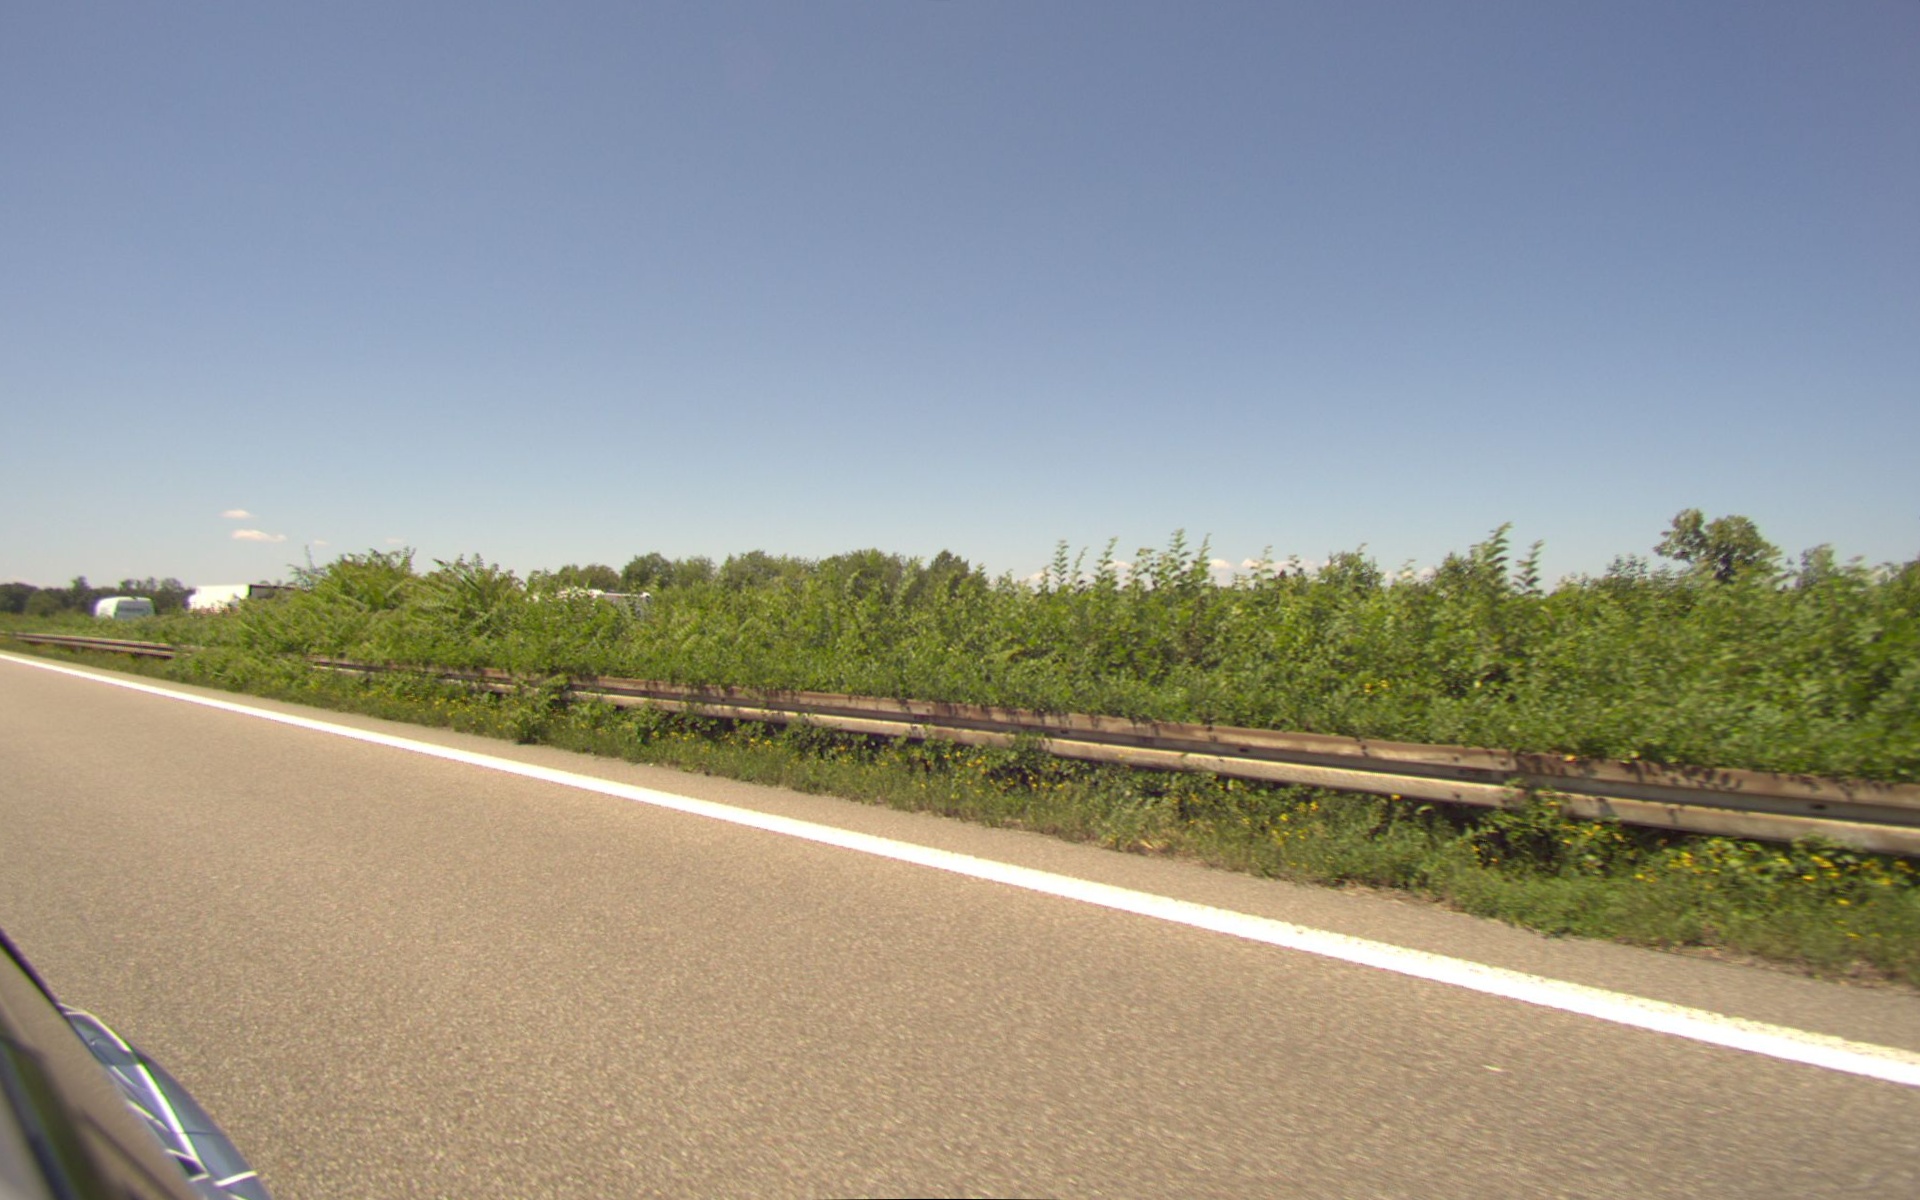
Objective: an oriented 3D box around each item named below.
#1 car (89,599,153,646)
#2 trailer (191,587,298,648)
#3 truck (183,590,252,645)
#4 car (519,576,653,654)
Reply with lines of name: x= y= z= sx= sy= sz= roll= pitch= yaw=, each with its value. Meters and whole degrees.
car: x=-48.123 y=1.285 z=57.971 sx=6.775 sy=2.519 sz=1.787 roll=-1 pitch=0 yaw=42
trailer: x=-50.069 y=1.182 z=70.522 sx=13.903 sy=3.899 sz=2.903 roll=-1 pitch=0 yaw=41
truck: x=-54.839 y=1.270 z=74.725 sx=5.749 sy=3.899 sz=2.903 roll=-1 pitch=0 yaw=41
car: x=-14.235 y=0.552 z=38.357 sx=5.517 sy=2.729 sz=2.444 roll=-1 pitch=0 yaw=41
